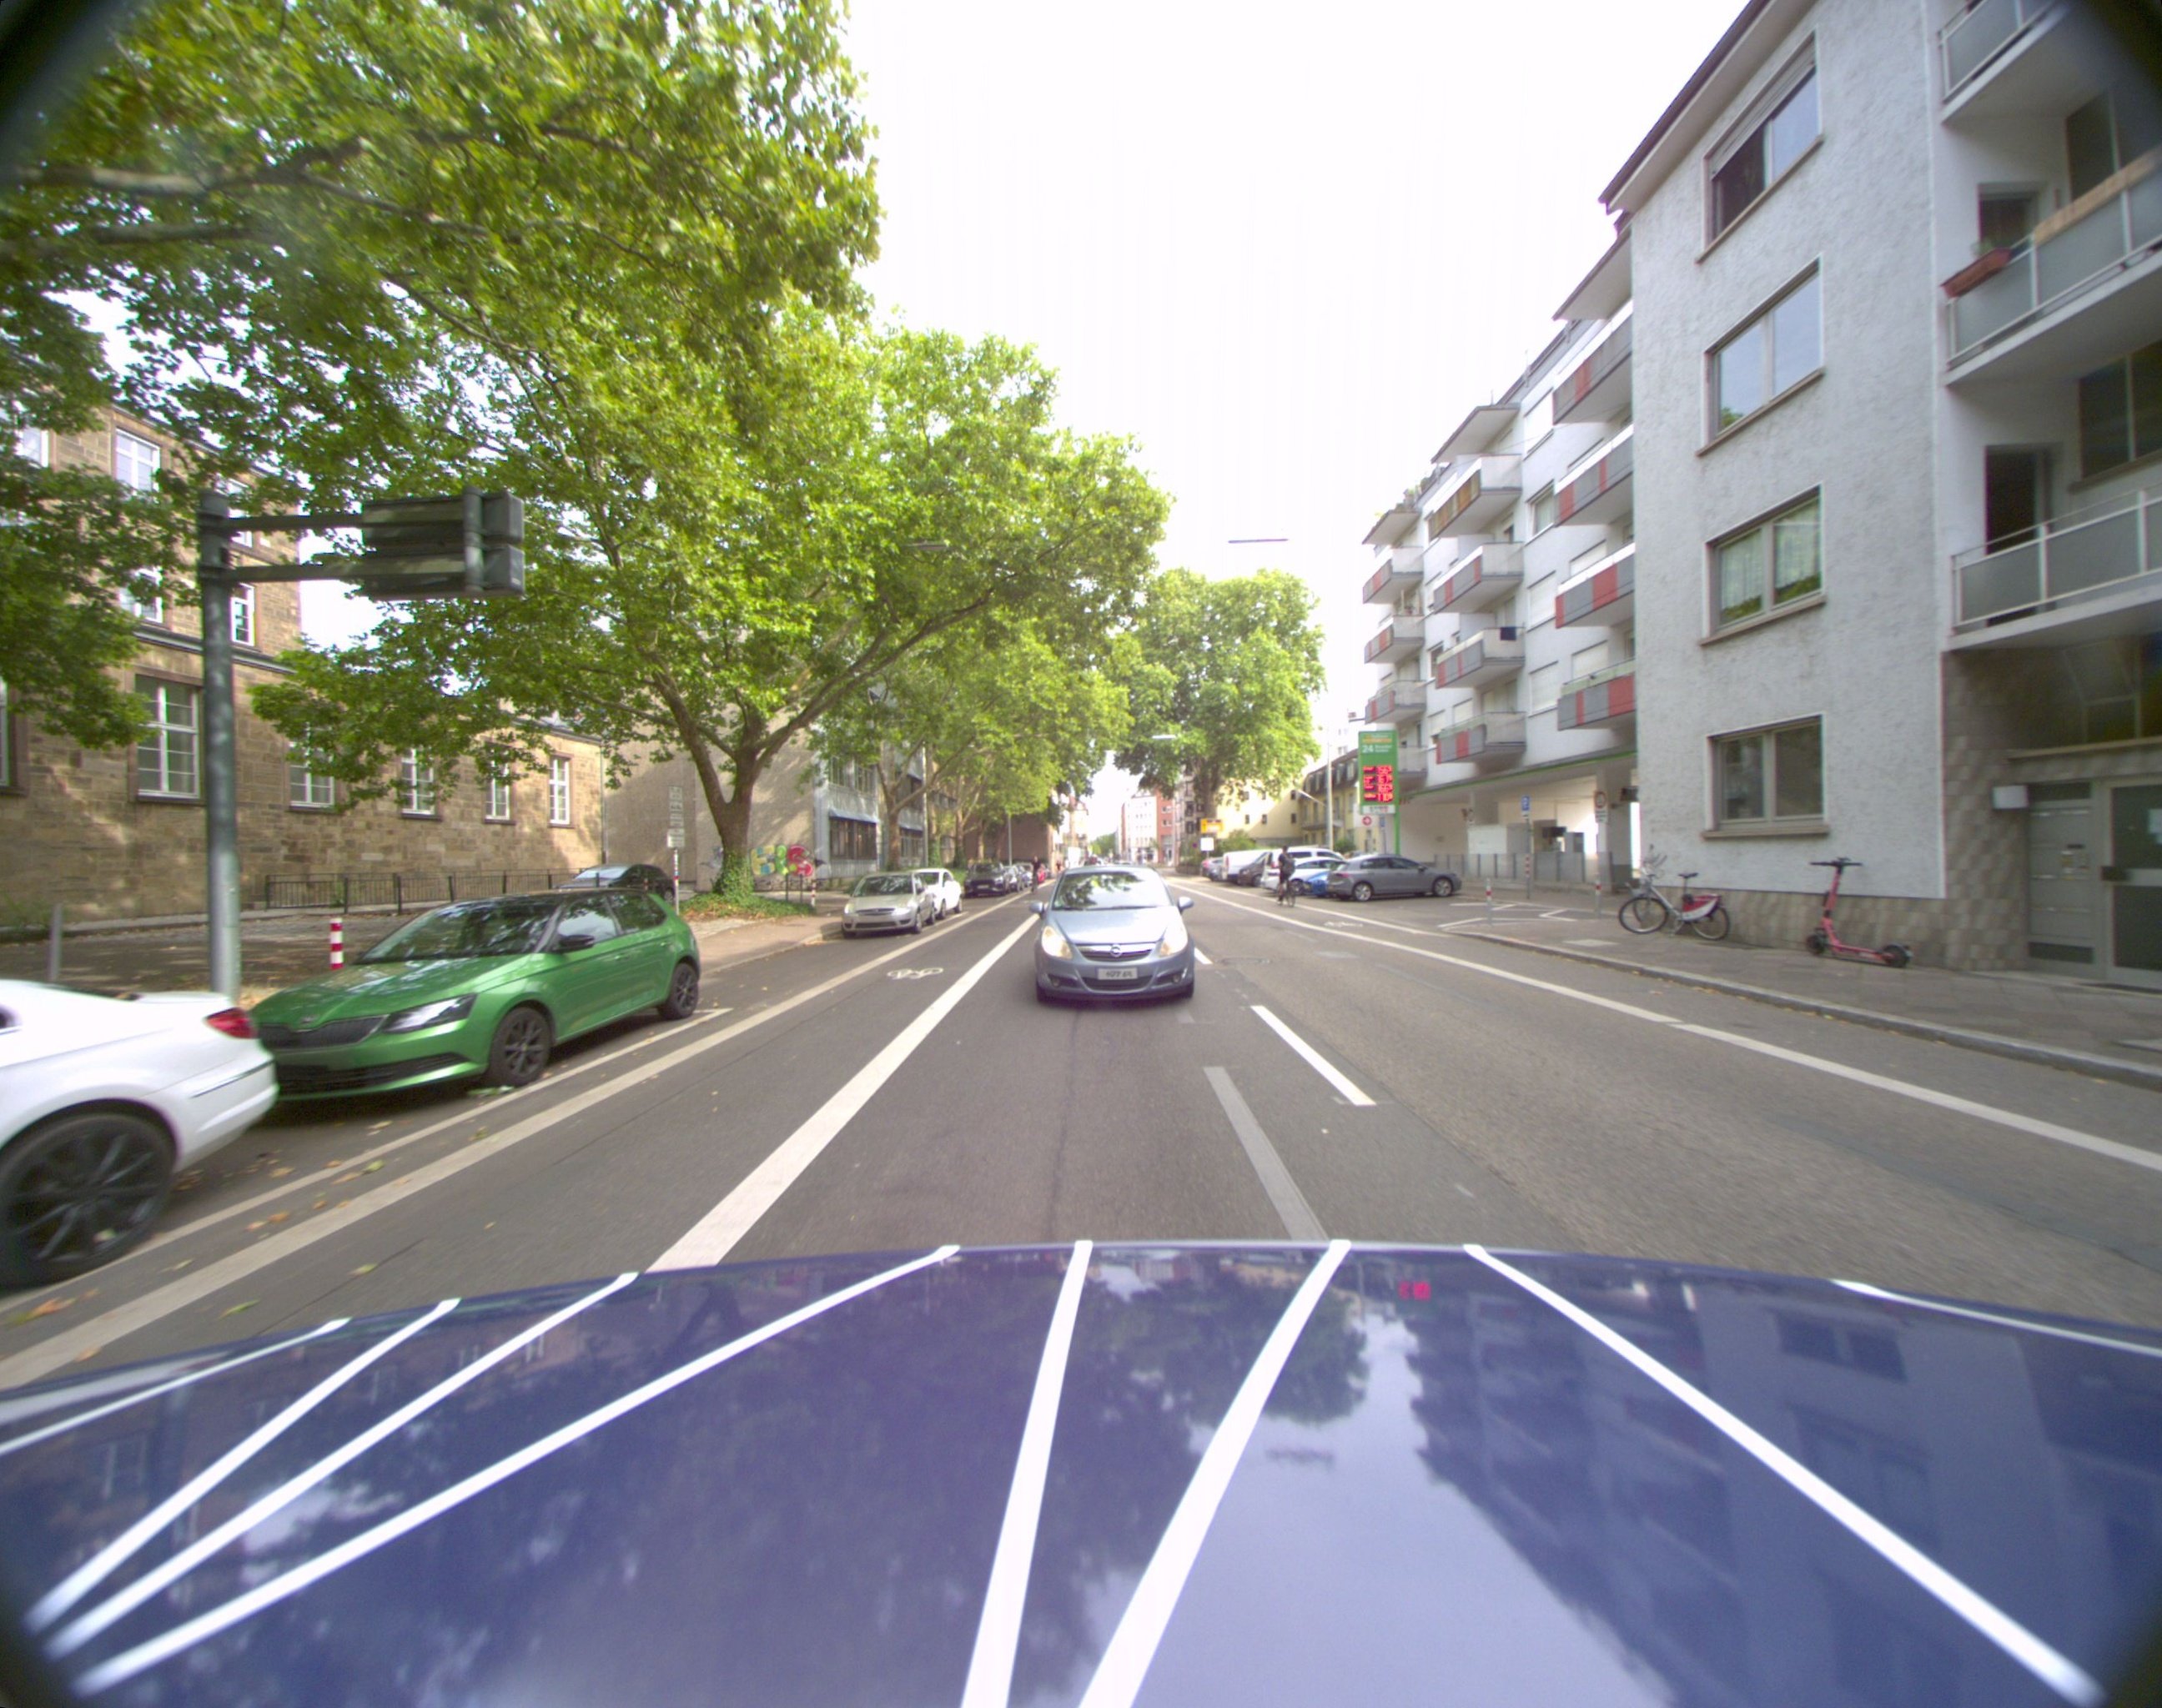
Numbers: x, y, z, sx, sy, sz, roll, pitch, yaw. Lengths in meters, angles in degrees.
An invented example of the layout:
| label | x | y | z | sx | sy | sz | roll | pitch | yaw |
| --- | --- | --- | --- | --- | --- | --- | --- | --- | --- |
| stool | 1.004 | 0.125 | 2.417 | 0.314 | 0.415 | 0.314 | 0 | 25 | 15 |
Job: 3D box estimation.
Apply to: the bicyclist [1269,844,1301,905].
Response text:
| label | x | y | z | sx | sy | sz | roll | pitch | yaw |
| --- | --- | --- | --- | --- | --- | --- | --- | --- | --- |
| bicyclist | 6.275 | 0.613 | 23.416 | 0.653 | 1.800 | 1.045 | -2 | 1 | 1 |

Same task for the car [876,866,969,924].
| label | x | y | z | sx | sy | sz | roll | pitch | yaw |
| --- | --- | --- | --- | --- | --- | --- | --- | --- | --- |
| car | -4.689 | 1.172 | 23.103 | 1.758 | 1.438 | 4.219 | -3 | 0 | 2 |

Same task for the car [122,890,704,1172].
| label | x | y | z | sx | sy | sz | roll | pitch | yaw |
| --- | --- | --- | --- | --- | --- | --- | --- | --- | --- |
| car | -5.002 | 1.167 | 6.529 | 1.591 | 1.441 | 3.805 | -4 | 0 | -1 |

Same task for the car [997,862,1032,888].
| label | x | y | z | sx | sy | sz | roll | pitch | yaw |
| --- | --- | --- | --- | --- | --- | --- | --- | --- | --- |
| car | -4.019 | 1.236 | 46.360 | 1.602 | 1.414 | 3.956 | -3 | 0 | 1 |

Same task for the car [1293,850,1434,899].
| label | x | y | z | sx | sy | sz | roll | pitch | yaw |
| --- | --- | --- | --- | --- | --- | --- | --- | --- | --- |
| car | 10.128 | 0.725 | 27.465 | 4.311 | 1.442 | 1.910 | -4 | 0 | 2 |

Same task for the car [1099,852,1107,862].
| label | x | y | z | sx | sy | sz | roll | pitch | yaw |
| --- | --- | --- | --- | --- | --- | --- | --- | --- | --- |
| car | 5.893 | 0.674 | 201.039 | 1.998 | 2.546 | 4.799 | -2 | 0 | 2 |

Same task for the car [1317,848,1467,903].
| label | x | y | z | sx | sy | sz | roll | pitch | yaw |
| --- | --- | --- | --- | --- | --- | --- | --- | --- | --- |
| car | 10.239 | 0.688 | 25.245 | 4.161 | 1.504 | 1.837 | -4 | 0 | 2 |

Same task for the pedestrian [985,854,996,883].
| label | x | y | z | sx | sy | sz | roll | pitch | yaw |
| --- | --- | --- | --- | --- | --- | --- | --- | --- | --- |
| pedestrian | -5.648 | 0.922 | 47.407 | 0.592 | 1.775 | 0.476 | 2 | 1 | 0 |

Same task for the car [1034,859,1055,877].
| label | x | y | z | sx | sy | sz | roll | pitch | yaw |
| --- | --- | --- | --- | --- | --- | --- | --- | --- | --- |
| car | -3.457 | 1.331 | 72.021 | 1.602 | 1.516 | 3.956 | -3 | 0 | 1 |

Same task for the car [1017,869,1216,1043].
| label | x | y | z | sx | sy | sz | roll | pitch | yaw |
| --- | --- | --- | --- | --- | --- | --- | --- | --- | --- |
| car | 0.353 | 0.941 | 8.827 | 1.716 | 1.412 | 4.253 | -2 | 0 | 1 |

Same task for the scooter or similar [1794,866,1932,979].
| label | x | y | z | sx | sy | sz | roll | pitch | yaw |
| --- | --- | --- | --- | --- | --- | --- | --- | --- | --- |
| scooter or similar | 9.109 | 0.759 | 8.903 | 0.350 | 1.214 | 1.202 | -2 | 0 | 1 |

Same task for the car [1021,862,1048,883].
| label | x | y | z | sx | sy | sz | roll | pitch | yaw |
| --- | --- | --- | --- | --- | --- | --- | --- | --- | --- |
| car | -3.465 | 1.351 | 57.037 | 1.602 | 1.438 | 4.105 | -3 | 0 | 1 |

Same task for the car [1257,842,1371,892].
| label | x | y | z | sx | sy | sz | roll | pitch | yaw |
| --- | --- | --- | --- | --- | --- | --- | --- | --- | --- |
| car | 9.912 | 0.545 | 32.552 | 4.221 | 1.837 | 1.924 | -4 | 0 | 2 |

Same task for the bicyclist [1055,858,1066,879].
| label | x | y | z | sx | sy | sz | roll | pitch | yaw |
| --- | --- | --- | --- | --- | --- | --- | --- | --- | --- |
| bicyclist | -1.582 | 1.105 | 59.658 | 0.748 | 1.590 | 0.819 | -2 | 0 | 2 |

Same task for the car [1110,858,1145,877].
| label | x | y | z | sx | sy | sz | roll | pitch | yaw |
| --- | --- | --- | --- | --- | --- | --- | --- | --- | --- |
| car | 4.431 | 1.272 | 72.457 | 1.938 | 1.637 | 3.994 | -1 | 0 | -18 |

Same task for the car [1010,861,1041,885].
| label | x | y | z | sx | sy | sz | roll | pitch | yaw |
| --- | --- | --- | --- | --- | --- | --- | --- | --- | --- |
| car | -3.735 | 1.263 | 51.976 | 1.602 | 1.496 | 4.441 | -3 | 0 | 1 |

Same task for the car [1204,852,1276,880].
| label | x | y | z | sx | sy | sz | roll | pitch | yaw |
| --- | --- | --- | --- | --- | --- | --- | --- | --- | --- |
| car | 10.611 | 0.777 | 50.843 | 4.372 | 1.540 | 1.733 | -4 | 0 | 2 |

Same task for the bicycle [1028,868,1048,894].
| label | x | y | z | sx | sy | sz | roll | pitch | yaw |
| --- | --- | --- | --- | --- | --- | --- | --- | --- | --- |
| bicycle | -2.050 | 1.284 | 36.798 | 0.763 | 1.162 | 1.950 | -2 | 0 | 2 |

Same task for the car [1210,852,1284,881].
| label | x | y | z | sx | sy | sz | roll | pitch | yaw |
| --- | --- | --- | --- | --- | --- | --- | --- | --- | --- |
| car | 10.605 | 0.784 | 48.714 | 4.275 | 1.502 | 1.719 | -4 | 0 | 2 |

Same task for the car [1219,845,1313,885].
| label | x | y | z | sx | sy | sz | roll | pitch | yaw |
| --- | --- | --- | --- | --- | --- | --- | --- | --- | --- |
| car | 10.103 | 0.578 | 41.790 | 4.627 | 1.848 | 1.950 | -4 | 0 | 2 |

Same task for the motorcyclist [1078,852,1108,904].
| label | x | y | z | sx | sy | sz | roll | pitch | yaw |
| --- | --- | --- | --- | --- | --- | --- | --- | --- | --- |
| motorcyclist | 0.393 | 0.749 | 24.061 | 0.904 | 1.608 | 0.691 | -1 | 0 | 1 |

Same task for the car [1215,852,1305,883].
| label | x | y | z | sx | sy | sz | roll | pitch | yaw |
| --- | --- | --- | --- | --- | --- | --- | --- | --- | --- |
| car | 10.366 | 0.746 | 44.224 | 4.716 | 1.461 | 1.874 | -4 | 0 | 2 |

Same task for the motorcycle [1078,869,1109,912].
| label | x | y | z | sx | sy | sz | roll | pitch | yaw |
| --- | --- | --- | --- | --- | --- | --- | --- | --- | --- |
| motorcycle | 0.396 | 1.122 | 24.061 | 0.904 | 1.190 | 2.630 | -1 | 0 | 1 |

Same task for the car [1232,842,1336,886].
| label | x | y | z | sx | sy | sz | roll | pitch | yaw |
| --- | --- | --- | --- | --- | --- | --- | --- | --- | --- |
| car | 10.446 | 0.510 | 39.316 | 4.778 | 1.923 | 1.994 | -4 | 0 | 2 |

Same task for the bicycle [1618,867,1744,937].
| label | x | y | z | sx | sy | sz | roll | pitch | yaw |
| --- | --- | --- | --- | --- | --- | --- | --- | --- | --- |
| bicycle | 10.346 | 0.815 | 13.124 | 1.775 | 1.111 | 0.453 | -2 | 0 | 1 |

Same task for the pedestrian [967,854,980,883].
| label | x | y | z | sx | sy | sz | roll | pitch | yaw |
| --- | --- | --- | --- | --- | --- | --- | --- | --- | --- |
| pedestrian | -6.748 | 0.906 | 47.706 | 0.643 | 1.823 | 0.645 | 2 | 1 | 0 |

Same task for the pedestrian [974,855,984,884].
| label | x | y | z | sx | sy | sz | roll | pitch | yaw |
| --- | --- | --- | --- | --- | --- | --- | --- | --- | --- |
| pedestrian | -6.350 | 0.934 | 47.438 | 0.502 | 1.775 | 0.527 | 2 | 1 | 0 |

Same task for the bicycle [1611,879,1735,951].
| label | x | y | z | sx | sy | sz | roll | pitch | yaw |
| --- | --- | --- | --- | --- | --- | --- | --- | --- | --- |
| bicycle | 8.980 | 0.888 | 11.612 | 0.598 | 0.945 | 1.663 | -2 | 0 | 1 |

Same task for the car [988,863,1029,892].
| label | x | y | z | sx | sy | sz | roll | pitch | yaw |
| --- | --- | --- | --- | --- | --- | --- | --- | --- | --- |
| car | -3.953 | 1.248 | 41.930 | 1.643 | 1.424 | 4.574 | -3 | 0 | 1 |

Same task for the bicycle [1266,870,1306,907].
| label | x | y | z | sx | sy | sz | roll | pitch | yaw |
| --- | --- | --- | --- | --- | --- | --- | --- | --- | --- |
| bicycle | 6.285 | 1.031 | 23.392 | 0.647 | 1.008 | 2.077 | -2 | 0 | 1 |

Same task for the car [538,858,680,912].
| label | x | y | z | sx | sy | sz | roll | pitch | yaw |
| --- | --- | --- | --- | --- | --- | --- | --- | --- | --- |
| car | -14.169 | 0.944 | 23.135 | 1.673 | 1.441 | 4.299 | -2 | -2 | -1 |

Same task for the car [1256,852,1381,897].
| label | x | y | z | sx | sy | sz | roll | pitch | yaw |
| --- | --- | --- | --- | --- | --- | --- | --- | --- | --- |
| car | 9.265 | 0.778 | 29.886 | 4.281 | 1.442 | 1.874 | -4 | 0 | 2 |

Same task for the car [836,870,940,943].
| label | x | y | z | sx | sy | sz | roll | pitch | yaw |
| --- | --- | --- | --- | --- | --- | --- | --- | --- | --- |
| car | -4.534 | 1.172 | 18.346 | 1.647 | 1.438 | 3.881 | -3 | 0 | -3 |

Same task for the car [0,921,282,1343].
| label | x | y | z | sx | sy | sz | roll | pitch | yaw |
| --- | --- | --- | --- | --- | --- | --- | --- | --- | --- |
| car | -4.938 | 1.143 | 1.591 | 1.685 | 1.507 | 4.544 | -4 | 0 | -1 |

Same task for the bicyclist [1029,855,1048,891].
| label | x | y | z | sx | sy | sz | roll | pitch | yaw |
| --- | --- | --- | --- | --- | --- | --- | --- | --- | --- |
| bicyclist | -2.067 | 0.903 | 36.768 | 0.764 | 1.698 | 0.917 | -2 | 0 | 1 |

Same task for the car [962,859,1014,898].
| label | x | y | z | sx | sy | sz | roll | pitch | yaw |
| --- | --- | --- | --- | --- | --- | --- | --- | --- | --- |
| car | -4.374 | 1.123 | 36.430 | 1.926 | 1.612 | 4.481 | -3 | 0 | -1 |

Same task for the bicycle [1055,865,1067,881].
| label | x | y | z | sx | sy | sz | roll | pitch | yaw |
| --- | --- | --- | --- | --- | --- | --- | --- | --- | --- |
| bicycle | -1.579 | 1.466 | 59.653 | 0.763 | 1.162 | 1.950 | -2 | 0 | 2 |

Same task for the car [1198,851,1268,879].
| label | x | y | z | sx | sy | sz | roll | pitch | yaw |
| --- | --- | --- | --- | --- | --- | --- | --- | --- | --- |
| car | 10.578 | 0.770 | 53.159 | 4.529 | 1.596 | 1.754 | -4 | 0 | 2 |

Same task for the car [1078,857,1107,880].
| label | x | y | z | sx | sy | sz | roll | pitch | yaw |
| --- | --- | --- | --- | --- | --- | --- | --- | --- | --- |
| car | 0.876 | 1.072 | 56.639 | 2.000 | 1.556 | 4.551 | -2 | 0 | 1 |
